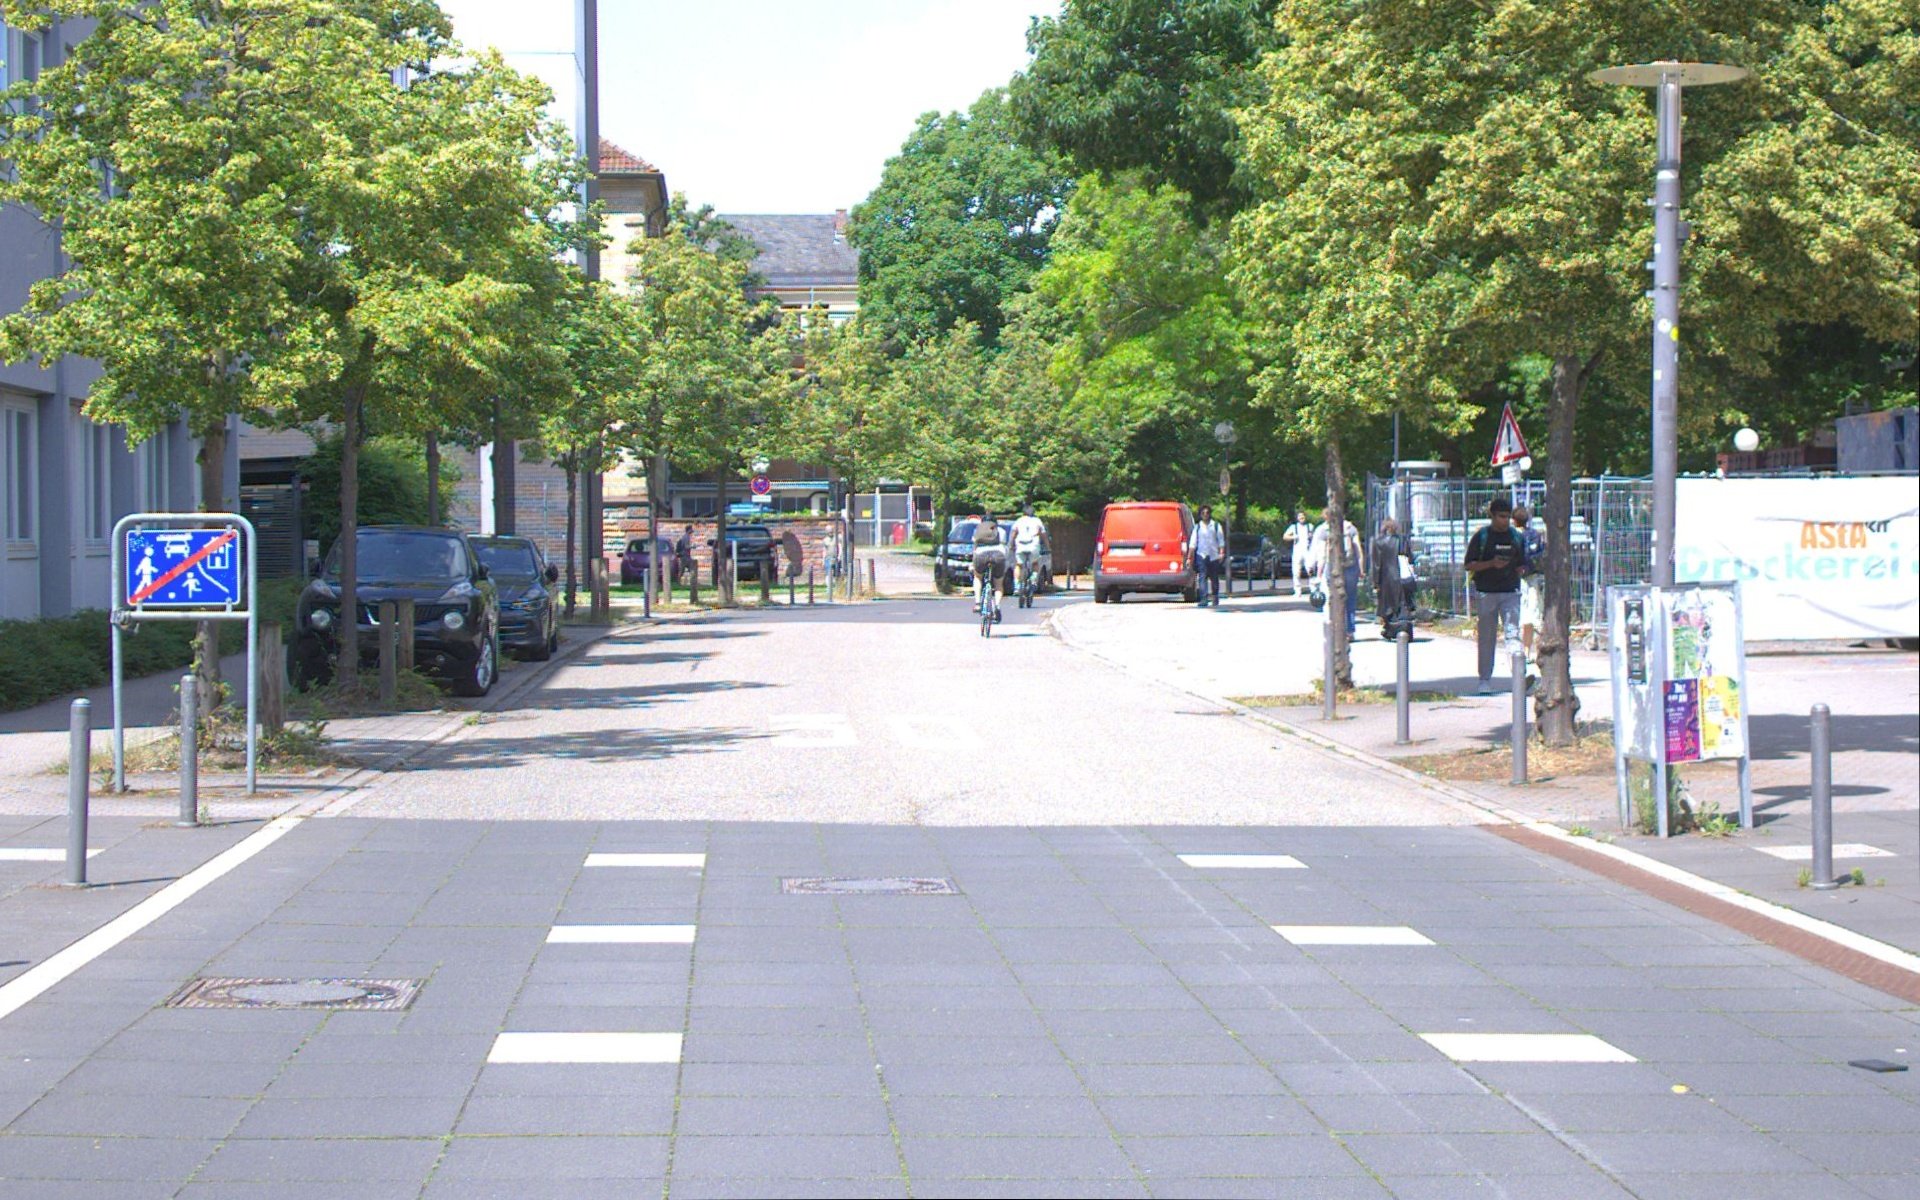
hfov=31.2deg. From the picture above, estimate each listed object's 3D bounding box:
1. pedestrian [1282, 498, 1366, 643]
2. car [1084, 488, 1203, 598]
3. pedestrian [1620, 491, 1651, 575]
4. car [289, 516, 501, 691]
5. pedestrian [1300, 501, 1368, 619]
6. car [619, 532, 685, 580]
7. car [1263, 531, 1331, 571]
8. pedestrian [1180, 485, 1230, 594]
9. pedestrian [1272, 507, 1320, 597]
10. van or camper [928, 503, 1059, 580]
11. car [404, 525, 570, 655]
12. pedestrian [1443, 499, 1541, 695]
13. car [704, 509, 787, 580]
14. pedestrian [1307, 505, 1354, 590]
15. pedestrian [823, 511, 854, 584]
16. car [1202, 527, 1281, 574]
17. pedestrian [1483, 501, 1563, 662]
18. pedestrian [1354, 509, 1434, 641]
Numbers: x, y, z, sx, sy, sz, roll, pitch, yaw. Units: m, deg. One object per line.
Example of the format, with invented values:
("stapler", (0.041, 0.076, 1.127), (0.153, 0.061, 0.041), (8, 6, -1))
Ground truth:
("pedestrian", (4.493, -0.372, 42.453), (0.849, 1.758, 0.716), (-1, 1, -8))
("car", (3.388, -1.050, 62.570), (1.849, 1.885, 4.889), (-1, 1, 6))
("pedestrian", (14.888, -1.483, 75.774), (0.543, 1.831, 0.761), (0, 1, 3))
("car", (-5.346, -0.015, 32.911), (1.696, 1.558, 4.069), (-1, 1, -5))
("pedestrian", (5.235, -0.562, 48.096), (0.714, 1.626, 0.710), (0, 1, 29))
("car", (-8.668, -1.241, 96.973), (1.817, 1.319, 3.768), (0, 1, -4))
("car", (11.943, -1.731, 121.727), (1.617, 1.383, 3.997), (0, 1, 17))
("pedestrian", (4.052, -0.997, 56.828), (0.695, 1.775, 0.786), (-1, 1, 13))
("pedestrian", (6.837, -0.979, 70.022), (0.721, 1.815, 0.630), (-1, 1, -39))
("van or camper", (0.918, -1.524, 89.246), (1.955, 1.916, 5.416), (1, 1, 17))
("car", (-5.636, -0.161, 41.362), (1.777, 1.456, 4.260), (1, 1, -5))
("pedestrian", (4.665, -0.037, 30.173), (0.641, 1.691, 0.792), (-1, 1, -9))
("car", (-6.094, -1.575, 97.141), (2.174, 1.919, 5.187), (0, 1, -5))
("pedestrian", (7.432, -1.054, 68.990), (0.743, 1.704, 0.564), (-1, 1, -39))
("pedestrian", (-2.962, -1.282, 84.009), (0.584, 1.758, 0.911), (0, 1, 10))
("car", (9.397, -1.664, 114.532), (1.761, 1.516, 4.108), (0, 1, 17))
("pedestrian", (5.906, -0.199, 36.108), (0.649, 1.660, 0.904), (-1, 1, -2))
("pedestrian", (5.343, -0.312, 42.353), (0.668, 1.594, 0.985), (-1, 1, -13))
